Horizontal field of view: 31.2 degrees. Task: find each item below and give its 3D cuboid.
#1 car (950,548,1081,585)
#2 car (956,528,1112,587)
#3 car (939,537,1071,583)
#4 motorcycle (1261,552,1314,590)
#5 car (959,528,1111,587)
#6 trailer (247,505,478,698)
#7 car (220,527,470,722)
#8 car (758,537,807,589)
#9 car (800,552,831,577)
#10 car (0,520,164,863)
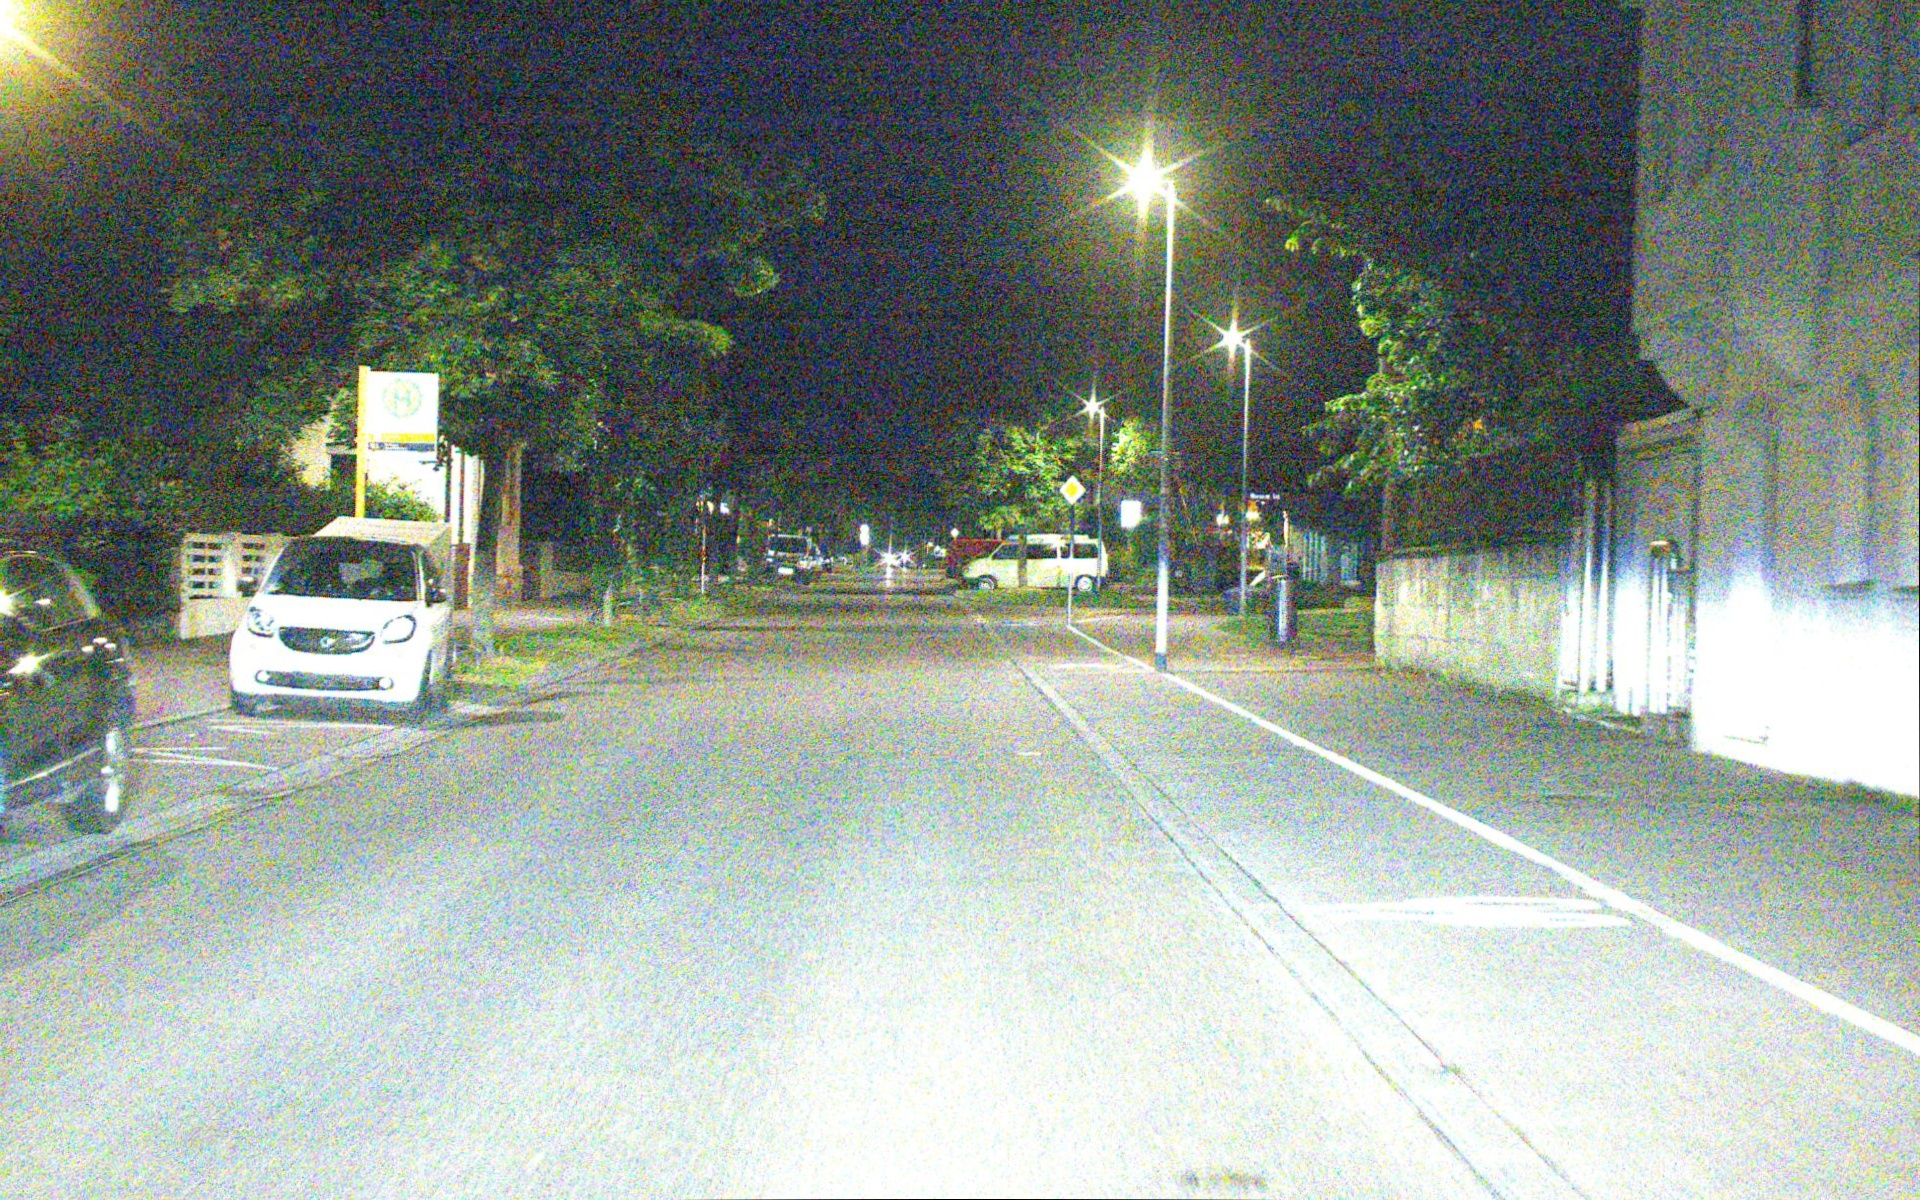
[{"bbox_3d":[2.203,-1.369,138.546,5.182,1.464,2.102,0,1,-2],"label":"car"},{"bbox_3d":[2.477,-1.443,116.494,5.182,2.007,2.102,0,1,-2],"label":"car"},{"bbox_3d":[1.866,-1.643,141.259,5.184,1.880,2.101,0,1,9],"label":"car"},{"bbox_3d":[11.683,-1.050,122.521,1.071,1.322,2.703,2,2,23],"label":"motorcycle"},{"bbox_3d":[2.595,-1.486,119.557,5.182,2.007,2.102,0,1,-2],"label":"car"},{"bbox_3d":[-5.754,-0.005,33.423,1.448,1.682,3.426,4,1,2],"label":"trailer"},{"bbox_3d":[-5.348,0.185,30.198,1.671,1.517,2.979,4,1,-2],"label":"car"},{"bbox_3d":[-7.228,-1.507,140.184,1.824,1.980,4.466,3,1,-2],"label":"car"},{"bbox_3d":[-7.961,-1.971,189.269,1.683,1.326,3.600,1,1,-2],"label":"car"},{"bbox_3d":[-5.127,0.361,16.178,1.766,1.514,4.279,3,1,-1],"label":"car"}]
